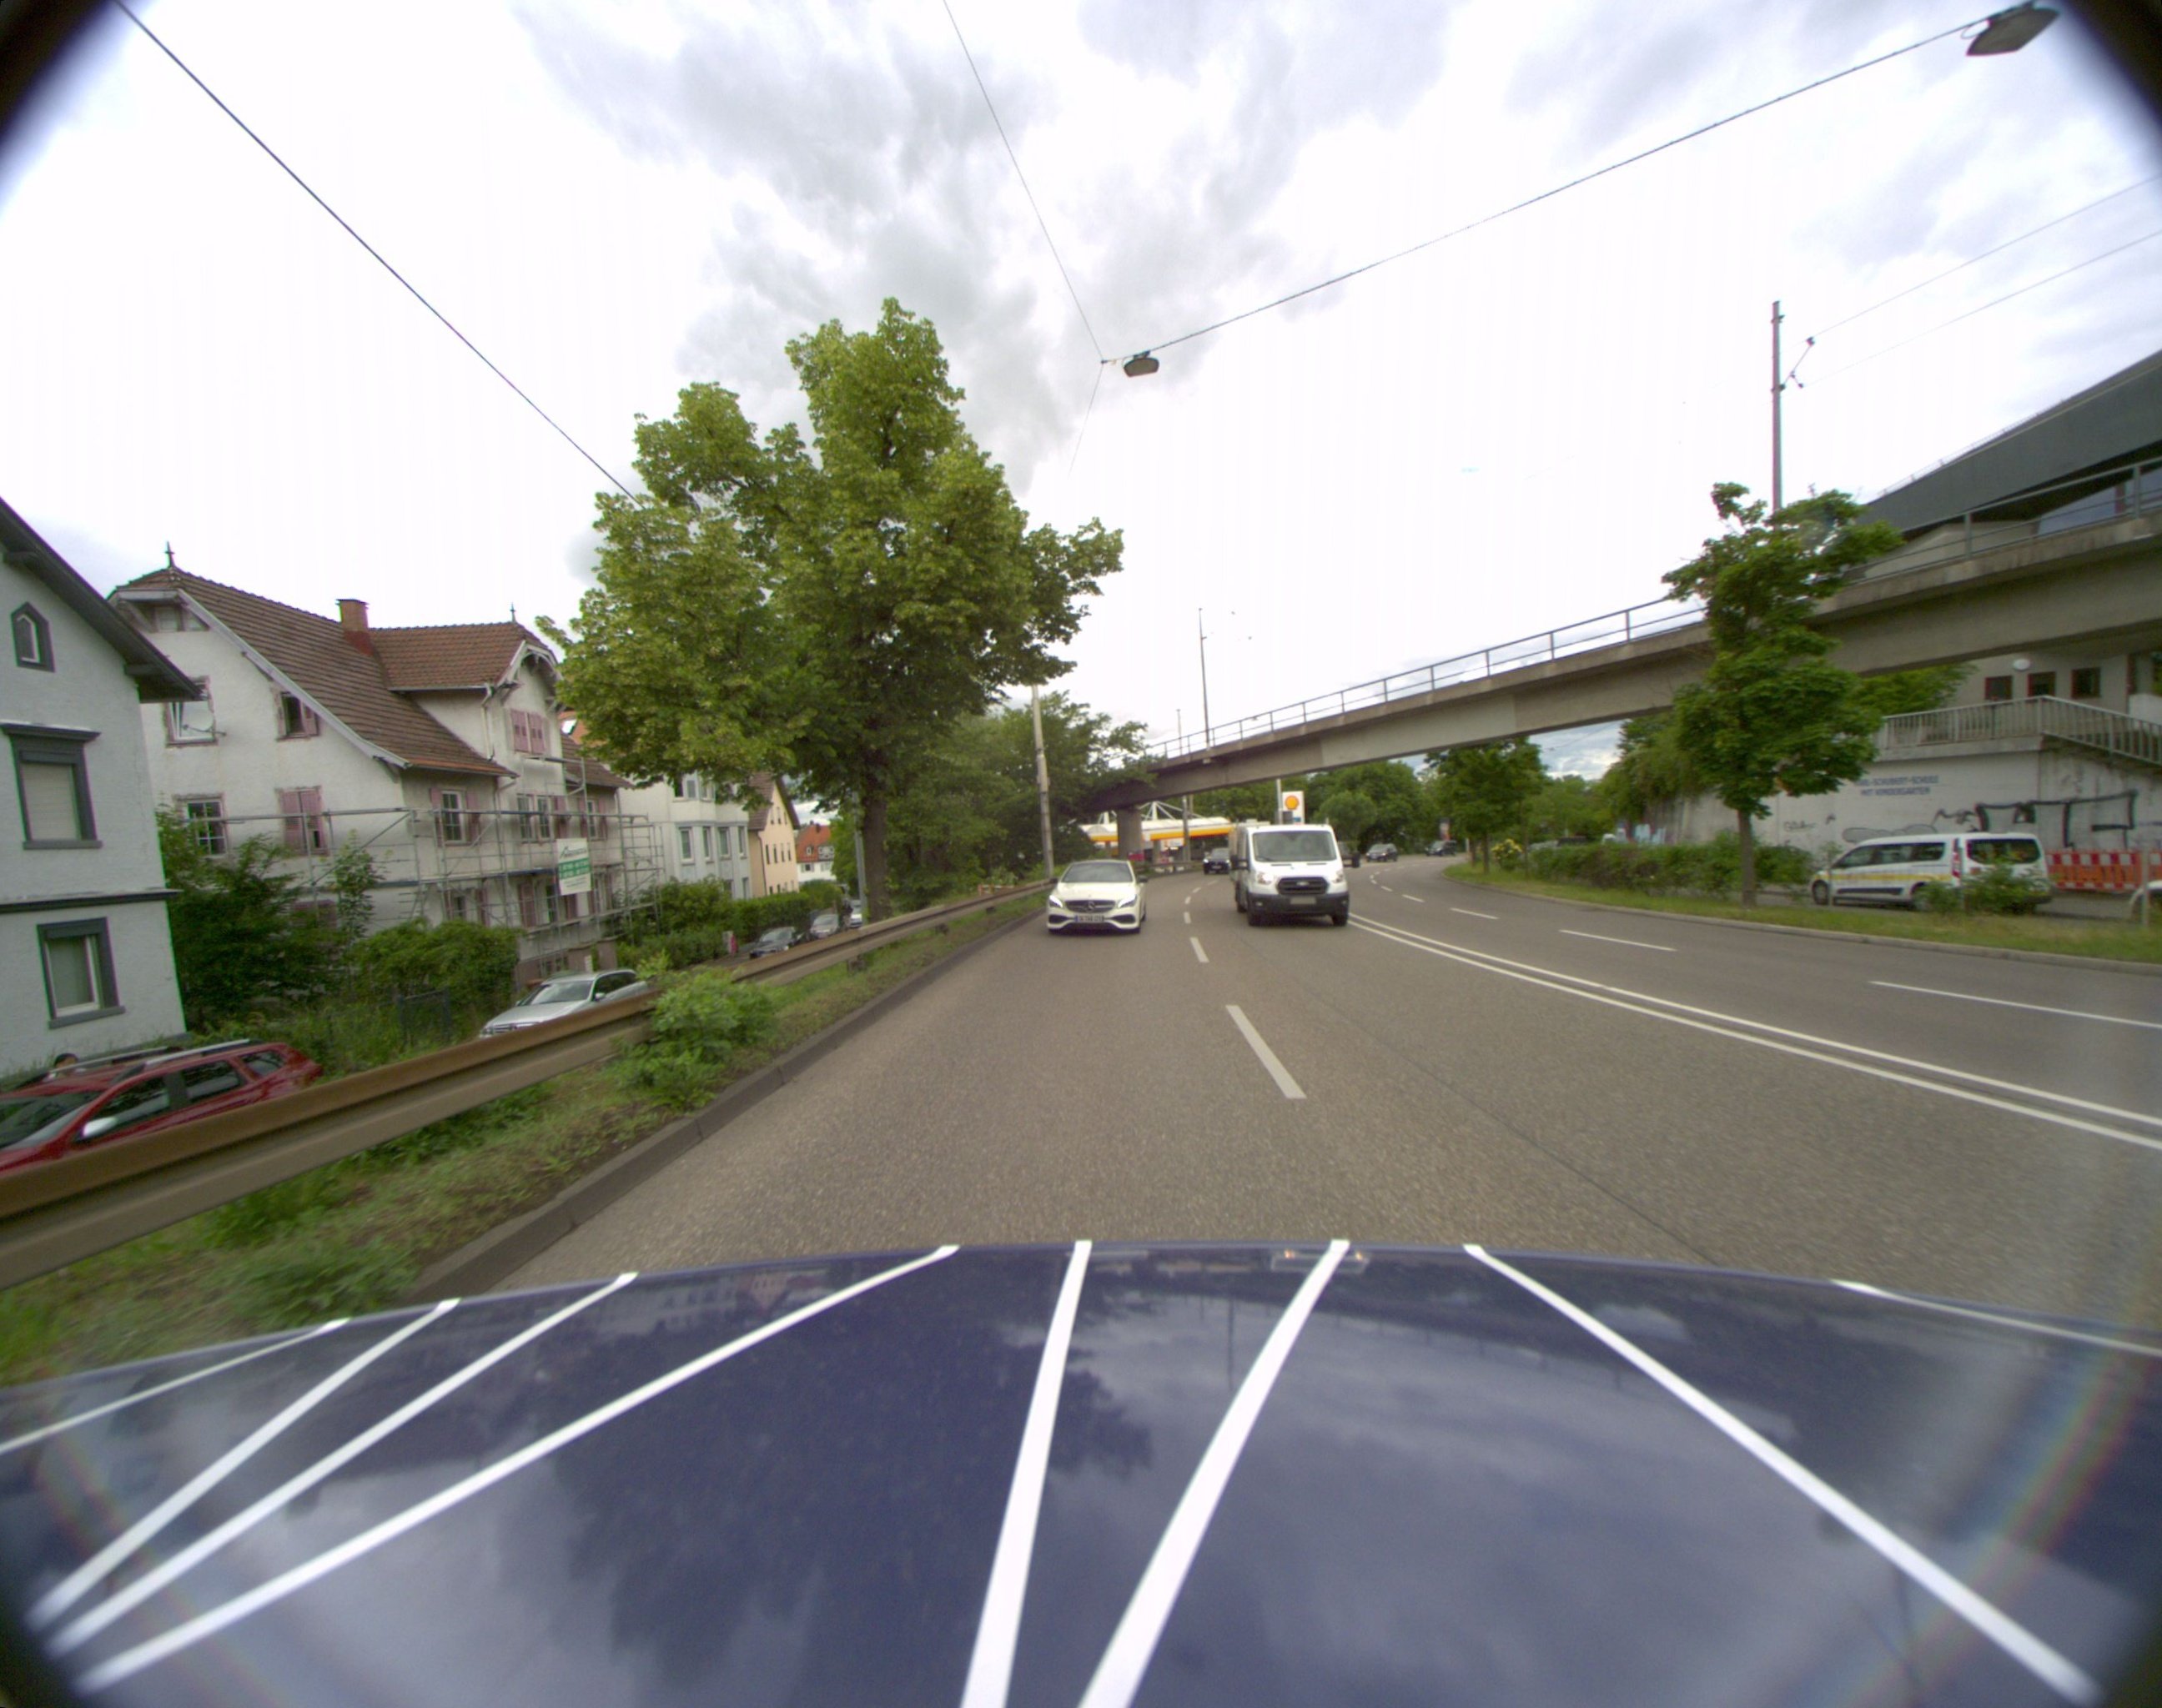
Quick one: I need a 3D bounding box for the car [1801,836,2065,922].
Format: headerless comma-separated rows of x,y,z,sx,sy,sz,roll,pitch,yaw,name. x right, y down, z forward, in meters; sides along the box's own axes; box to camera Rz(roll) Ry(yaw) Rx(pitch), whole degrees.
19.953,0.492,18.155,1.769,1.775,4.468,1,1,10,car

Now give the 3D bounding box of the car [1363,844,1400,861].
27.677,-0.132,69.912,1.726,1.469,4.008,-1,0,43,car

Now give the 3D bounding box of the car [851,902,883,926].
-15.502,4.358,55.251,1.651,1.386,3.768,-5,0,-8,car

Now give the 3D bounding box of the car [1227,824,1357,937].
4.629,0.490,17.671,1.997,2.161,6.271,0,1,7,car

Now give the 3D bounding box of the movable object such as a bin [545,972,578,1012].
-15.153,4.026,22.171,0.580,1.073,0.538,-2,1,0,movable object such as a bin

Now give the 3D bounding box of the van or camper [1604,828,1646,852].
57.763,-1.530,80.669,5.720,2.459,1.994,-2,2,-37,van or camper

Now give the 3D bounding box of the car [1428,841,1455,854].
42.511,-0.770,89.605,1.726,1.469,4.008,-2,0,42,car

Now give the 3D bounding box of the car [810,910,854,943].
-14.140,4.098,43.325,1.624,1.439,4.027,-5,0,-8,car

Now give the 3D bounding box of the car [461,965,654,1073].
-11.652,3.600,17.347,1.624,1.432,4.431,-5,0,-6,car

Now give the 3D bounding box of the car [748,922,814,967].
-13.223,3.940,33.718,1.624,1.439,4.055,-5,0,-6,car

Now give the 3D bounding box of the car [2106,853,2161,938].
18.918,0.707,11.585,1.769,1.411,3.806,-1,0,10,car

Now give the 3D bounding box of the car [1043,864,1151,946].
0.466,0.931,15.623,1.820,1.339,4.001,0,1,7,car

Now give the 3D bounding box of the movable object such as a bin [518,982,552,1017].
-15.759,4.199,21.936,0.538,0.877,0.580,-2,1,0,movable object such as a bin

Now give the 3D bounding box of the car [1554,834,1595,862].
41.807,-0.573,64.300,2.268,2.260,6.339,1,2,39,car

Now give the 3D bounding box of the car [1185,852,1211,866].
14.689,0.624,95.828,1.724,1.428,4.098,-3,4,-15,car

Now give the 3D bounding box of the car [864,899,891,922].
-16.252,4.481,60.742,1.624,1.512,4.301,-5,0,-11,car

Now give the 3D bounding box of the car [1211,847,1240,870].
9.217,0.260,48.381,1.732,1.403,4.003,-1,0,11,car

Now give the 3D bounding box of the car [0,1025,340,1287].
-10.795,3.169,8.074,1.787,1.660,4.202,-5,0,-4,car

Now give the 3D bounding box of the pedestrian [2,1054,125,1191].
-12.895,3.379,9.647,0.619,1.472,0.589,-5,0,-4,pedestrian
